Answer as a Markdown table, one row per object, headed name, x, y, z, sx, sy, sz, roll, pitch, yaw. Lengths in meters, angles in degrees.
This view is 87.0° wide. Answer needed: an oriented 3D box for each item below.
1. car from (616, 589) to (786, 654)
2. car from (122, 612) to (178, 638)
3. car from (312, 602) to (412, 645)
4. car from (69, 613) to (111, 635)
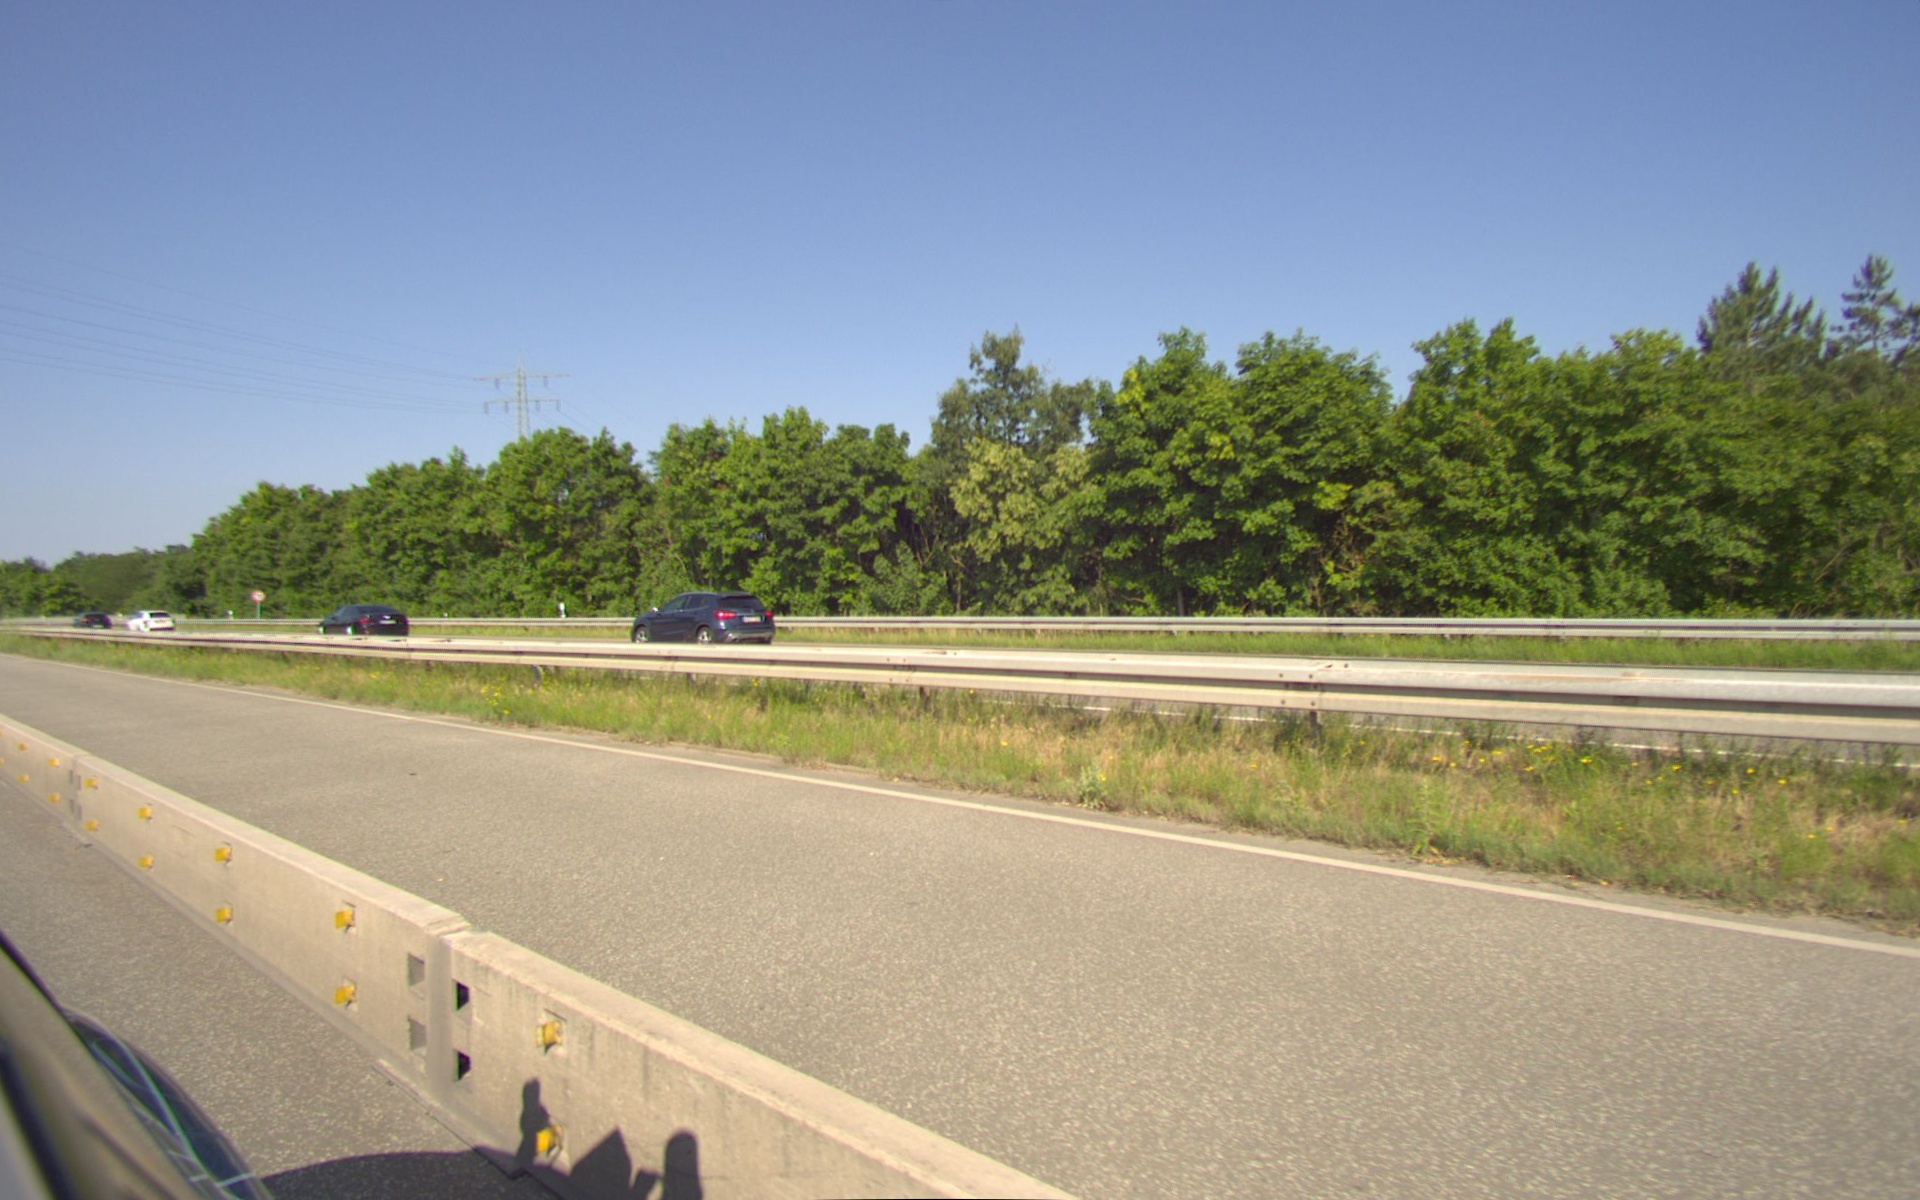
| name | x | y | z | sx | sy | sz | roll | pitch | yaw |
| --- | --- | --- | --- | --- | --- | --- | --- | --- | --- |
| car | -6.478 | 0.511 | 25.015 | 4.590 | 1.445 | 1.778 | -1 | 0 | 41 |
| car | -49.616 | 1.518 | 61.949 | 4.790 | 1.481 | 1.742 | -1 | 1 | 40 |
| car | -22.467 | 0.872 | 37.931 | 5.021 | 1.499 | 1.797 | -1 | -2 | 42 |
| car | -62.925 | 1.748 | 73.177 | 4.106 | 1.505 | 1.721 | -1 | 1 | 40 |
